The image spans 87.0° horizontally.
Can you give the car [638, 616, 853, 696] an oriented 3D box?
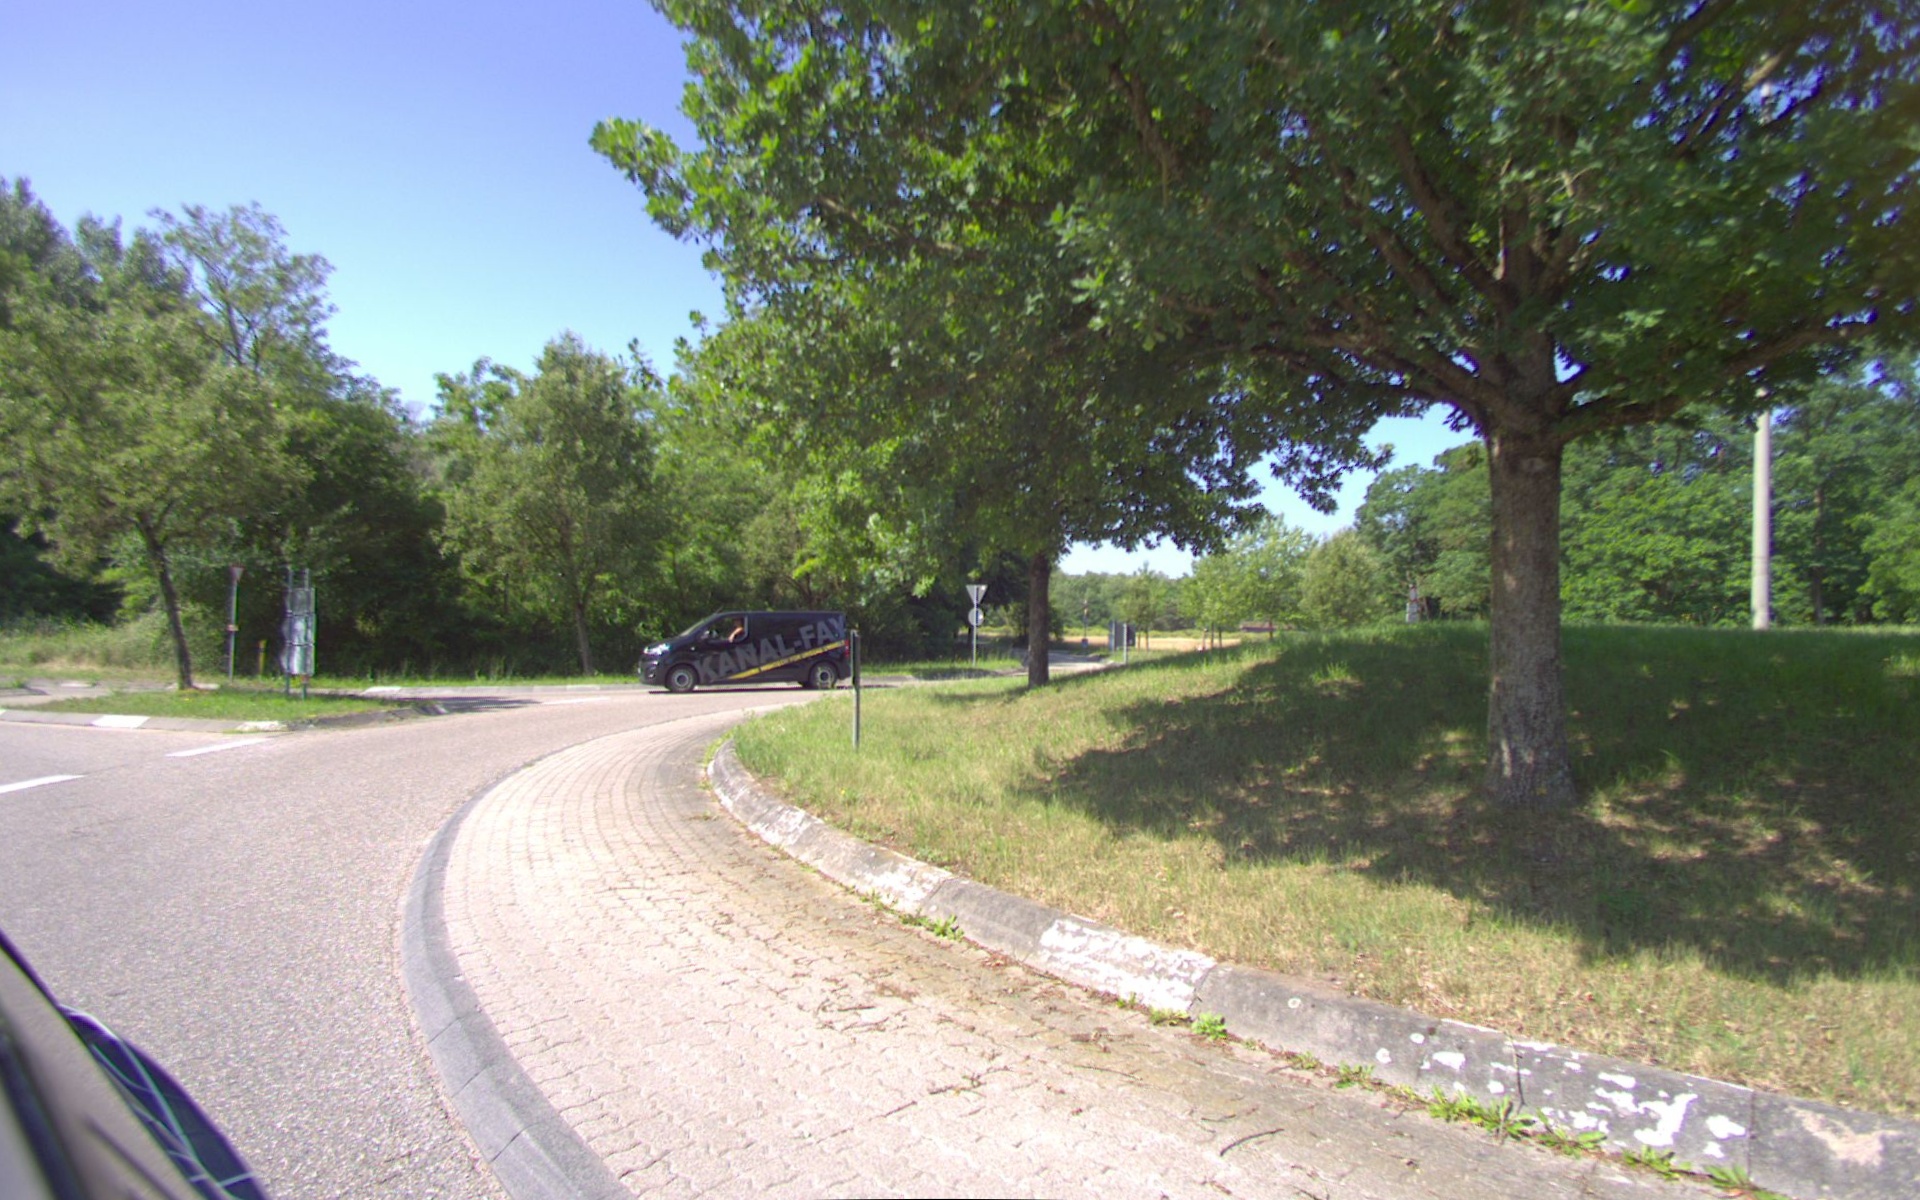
[{"bbox_3d":[-5.049,1.270,23.756,4.636,1.727,2.108,1,-2,-21],"label":"car"}]
